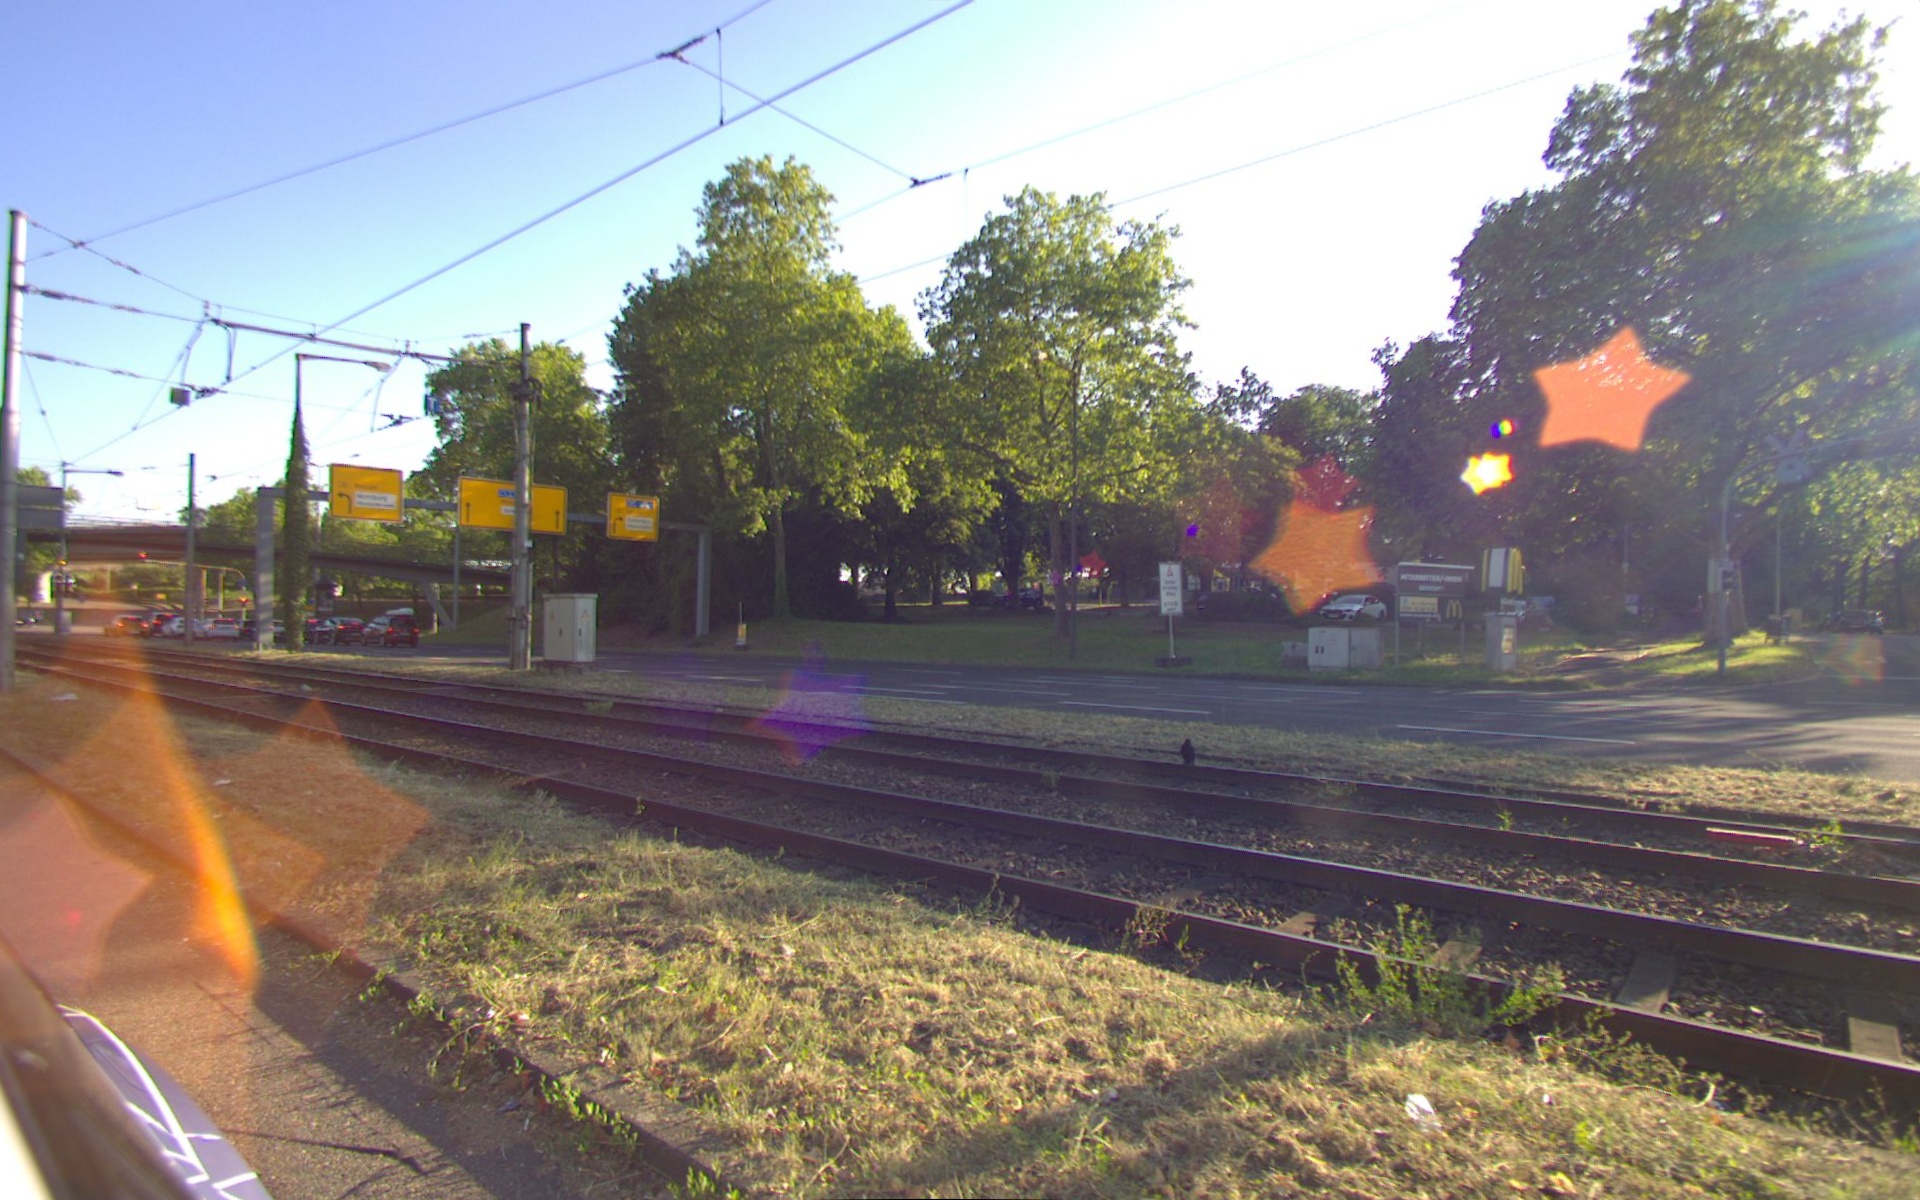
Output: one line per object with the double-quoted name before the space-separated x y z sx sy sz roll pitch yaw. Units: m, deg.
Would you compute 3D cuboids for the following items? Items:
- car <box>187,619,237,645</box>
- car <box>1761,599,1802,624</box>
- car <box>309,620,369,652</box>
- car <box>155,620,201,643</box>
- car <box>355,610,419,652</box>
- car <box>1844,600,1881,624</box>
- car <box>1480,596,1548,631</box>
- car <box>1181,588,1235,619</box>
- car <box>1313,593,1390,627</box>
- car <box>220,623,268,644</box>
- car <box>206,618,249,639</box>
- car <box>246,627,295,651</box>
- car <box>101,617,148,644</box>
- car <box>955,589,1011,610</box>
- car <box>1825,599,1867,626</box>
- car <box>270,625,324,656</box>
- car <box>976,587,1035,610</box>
"car" -47.256 2.000 63.919 4.188 1.577 1.645 0 0 41
"car" 52.044 0.713 64.089 1.851 1.564 3.945 0 0 41
"car" -36.044 2.058 58.690 4.238 1.763 1.774 0 0 41
"car" -52.729 2.121 68.217 4.411 1.443 1.723 0 -3 43
"car" -31.018 1.635 54.743 3.997 2.121 1.774 0 0 40
"car" 61.830 0.809 69.345 1.851 1.564 3.945 0 0 41
"car" 26.527 0.640 48.418 2.042 1.586 4.343 -1 0 40
"car" 14.422 0.197 58.771 1.822 1.700 4.180 -1 0 32
"car" 20.726 0.477 53.460 4.827 1.719 2.001 0 0 -45
"car" -51.272 2.356 72.438 4.474 1.393 1.774 0 0 41
"car" -54.819 2.115 75.737 3.998 1.453 1.774 -1 0 41
"car" -46.627 2.621 68.386 3.998 1.492 1.774 0 0 41
"car" -52.098 1.866 63.092 3.998 1.577 1.645 0 0 41
"car" 1.744 -0.026 76.043 3.934 1.564 1.812 0 -1 -35
"car" 53.423 0.750 61.010 1.851 1.564 3.945 0 0 41
"car" -41.057 2.488 62.665 3.998 1.763 1.774 0 0 41
"car" 3.123 -0.097 69.243 3.940 1.564 1.809 0 -1 -44
